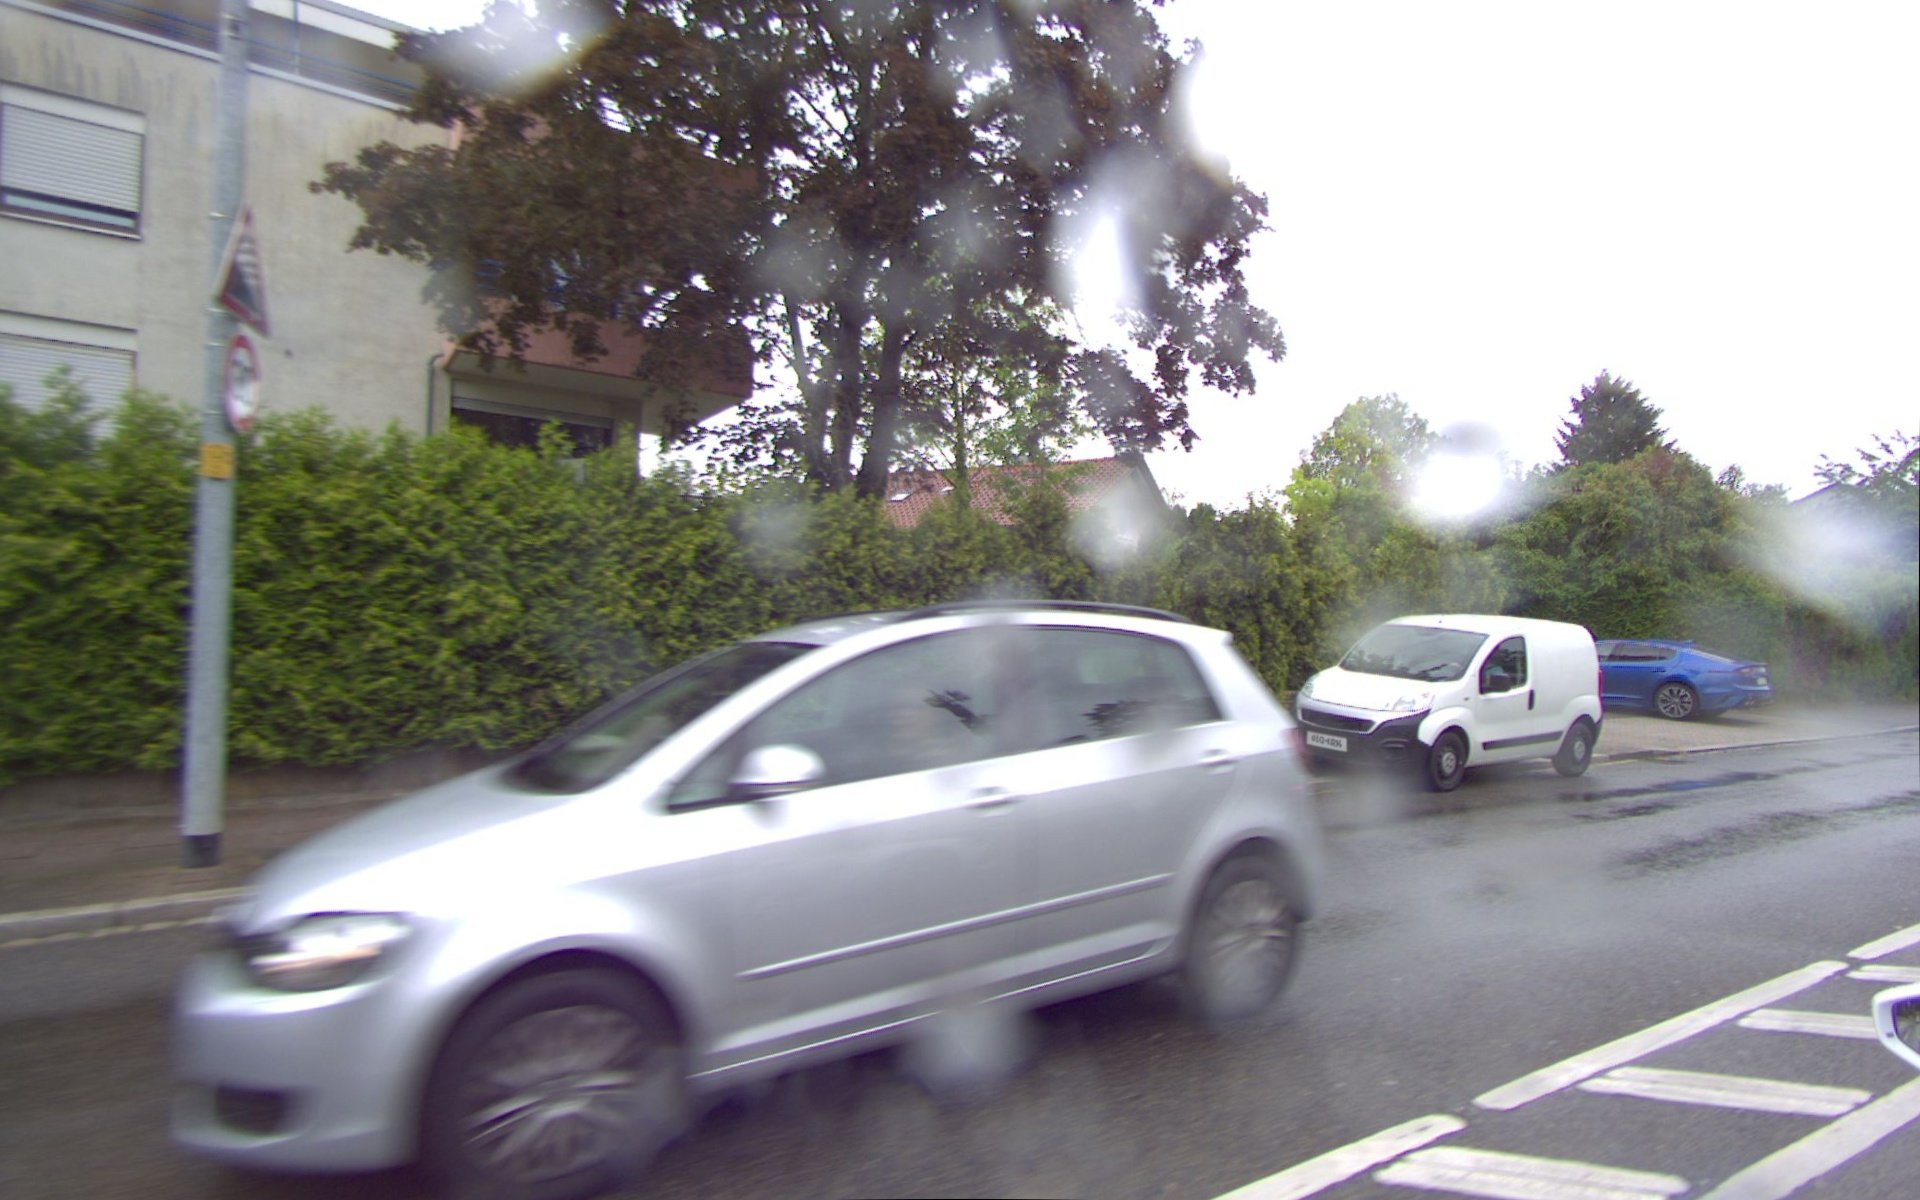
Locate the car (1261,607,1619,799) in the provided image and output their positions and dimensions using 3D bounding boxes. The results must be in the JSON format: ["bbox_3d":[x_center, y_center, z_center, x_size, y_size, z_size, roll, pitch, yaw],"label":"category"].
[{"bbox_3d":[5.383,1.004,11.165,3.934,1.731,1.691,1,2,-32],"label":"car"}]

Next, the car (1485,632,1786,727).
[{"bbox_3d":[12.771,1.413,19.274,1.787,1.380,4.452,0,1,-35],"label":"car"}]

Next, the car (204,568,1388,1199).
[{"bbox_3d":[-0.326,0.817,3.916,4.012,1.600,1.627,1,-4,-32],"label":"car"}]
